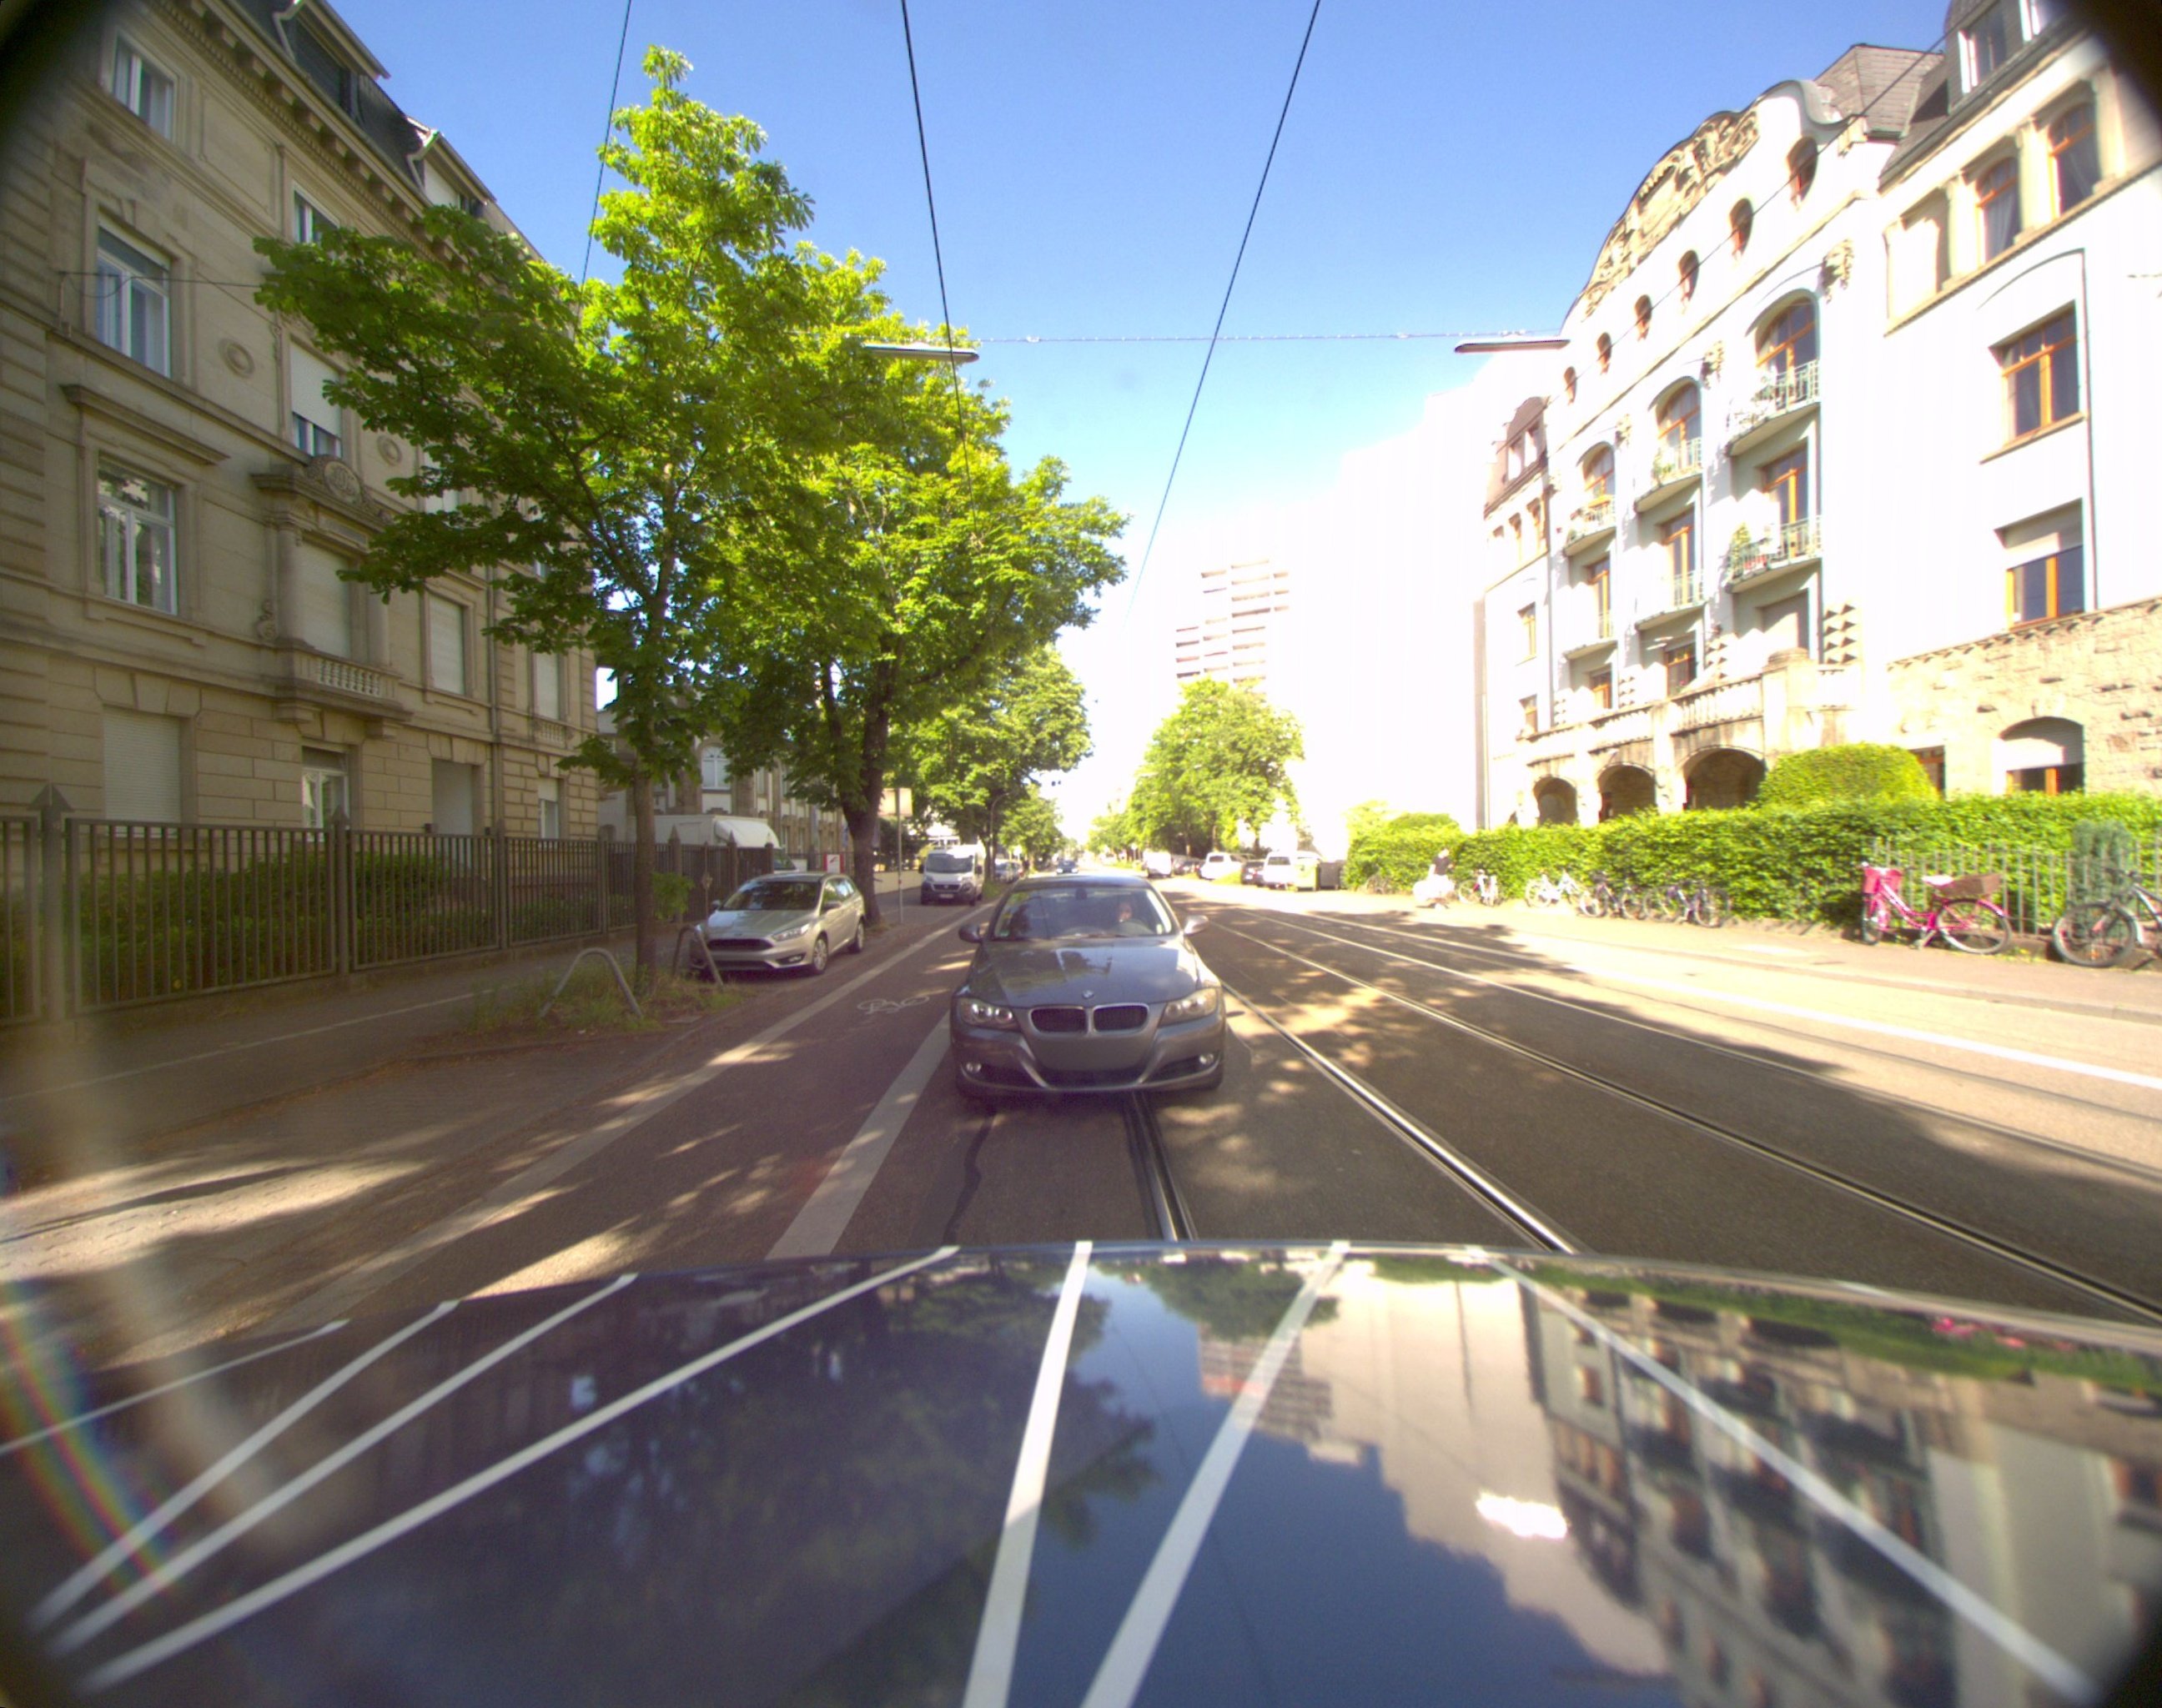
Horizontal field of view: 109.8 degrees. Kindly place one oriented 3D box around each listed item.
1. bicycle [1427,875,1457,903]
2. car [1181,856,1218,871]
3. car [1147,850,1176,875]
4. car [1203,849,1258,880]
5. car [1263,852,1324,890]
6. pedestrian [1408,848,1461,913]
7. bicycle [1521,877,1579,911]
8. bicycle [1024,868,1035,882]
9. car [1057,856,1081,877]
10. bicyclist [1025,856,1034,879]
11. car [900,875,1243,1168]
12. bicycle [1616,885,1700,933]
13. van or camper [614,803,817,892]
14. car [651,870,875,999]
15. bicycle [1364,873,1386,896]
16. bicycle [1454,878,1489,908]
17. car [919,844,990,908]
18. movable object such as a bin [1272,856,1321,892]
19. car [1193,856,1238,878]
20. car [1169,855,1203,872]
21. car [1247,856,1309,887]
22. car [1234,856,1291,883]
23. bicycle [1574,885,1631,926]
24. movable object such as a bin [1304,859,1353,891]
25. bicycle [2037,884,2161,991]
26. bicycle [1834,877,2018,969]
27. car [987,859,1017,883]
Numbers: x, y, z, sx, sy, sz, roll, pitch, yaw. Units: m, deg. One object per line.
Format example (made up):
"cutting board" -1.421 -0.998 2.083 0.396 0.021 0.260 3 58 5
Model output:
"bicycle" 10.761 1.038 22.701 0.297 0.757 1.263 -2 1 1
"car" 9.763 0.805 62.695 2.757 1.083 1.226 -2 1 -16
"car" 6.625 0.681 62.082 1.997 1.893 4.003 -2 1 11
"car" 9.897 0.684 50.114 3.450 1.860 1.918 -3 1 -44
"car" 10.286 0.813 36.691 3.194 1.763 1.456 1 -2 -45
"pedestrian" 9.415 0.698 20.287 0.869 1.619 0.870 -6 1 1
"bicycle" 11.788 1.003 19.102 1.262 0.789 0.297 -2 1 1
"bicycle" -3.783 1.543 55.962 0.535 0.917 2.057 -2 1 1
"car" -0.967 1.048 64.340 1.828 1.559 3.999 -2 1 1
"bicyclist" -3.811 1.000 55.986 0.532 1.660 0.878 -2 1 1
"car" -0.025 0.998 6.260 1.869 1.426 3.999 -2 1 1
"bicycle" 10.914 1.024 14.426 0.405 0.757 1.581 -2 1 1
"van or camper" -12.167 -0.138 25.186 6.721 2.612 2.126 -2 1 24
"car" -4.700 1.094 12.027 1.877 1.534 4.364 0 1 -3
"bicycle" 10.630 1.101 27.454 0.297 0.757 1.263 -2 1 1
"bicycle" 10.739 1.059 20.910 0.318 0.757 1.263 -2 1 1
"car" -4.981 0.773 30.779 2.132 2.329 5.803 0 1 -3
"movable object such as a bin" 9.399 0.849 33.240 1.512 1.424 2.096 -2 1 1
"car" 9.470 0.911 53.542 2.757 1.427 1.458 -2 1 -16
"car" 9.667 0.854 69.896 2.757 1.417 1.226 -2 1 -16
"car" 10.265 0.894 39.656 2.757 1.427 1.458 -2 1 -16
"car" 10.262 0.857 43.023 2.757 1.427 1.458 -2 1 -16
"bicycle" 10.913 1.060 15.931 0.339 0.757 1.263 -2 1 1
"movable object such as a bin" 11.114 0.904 34.209 1.501 1.309 2.096 -2 1 1
"bicycle" 11.079 0.862 7.742 0.405 1.018 1.816 -2 1 1
"bicycle" 11.009 0.857 9.997 0.405 1.018 1.816 -2 1 1
"car" -5.537 1.187 53.759 1.866 1.541 4.101 -2 1 -3
